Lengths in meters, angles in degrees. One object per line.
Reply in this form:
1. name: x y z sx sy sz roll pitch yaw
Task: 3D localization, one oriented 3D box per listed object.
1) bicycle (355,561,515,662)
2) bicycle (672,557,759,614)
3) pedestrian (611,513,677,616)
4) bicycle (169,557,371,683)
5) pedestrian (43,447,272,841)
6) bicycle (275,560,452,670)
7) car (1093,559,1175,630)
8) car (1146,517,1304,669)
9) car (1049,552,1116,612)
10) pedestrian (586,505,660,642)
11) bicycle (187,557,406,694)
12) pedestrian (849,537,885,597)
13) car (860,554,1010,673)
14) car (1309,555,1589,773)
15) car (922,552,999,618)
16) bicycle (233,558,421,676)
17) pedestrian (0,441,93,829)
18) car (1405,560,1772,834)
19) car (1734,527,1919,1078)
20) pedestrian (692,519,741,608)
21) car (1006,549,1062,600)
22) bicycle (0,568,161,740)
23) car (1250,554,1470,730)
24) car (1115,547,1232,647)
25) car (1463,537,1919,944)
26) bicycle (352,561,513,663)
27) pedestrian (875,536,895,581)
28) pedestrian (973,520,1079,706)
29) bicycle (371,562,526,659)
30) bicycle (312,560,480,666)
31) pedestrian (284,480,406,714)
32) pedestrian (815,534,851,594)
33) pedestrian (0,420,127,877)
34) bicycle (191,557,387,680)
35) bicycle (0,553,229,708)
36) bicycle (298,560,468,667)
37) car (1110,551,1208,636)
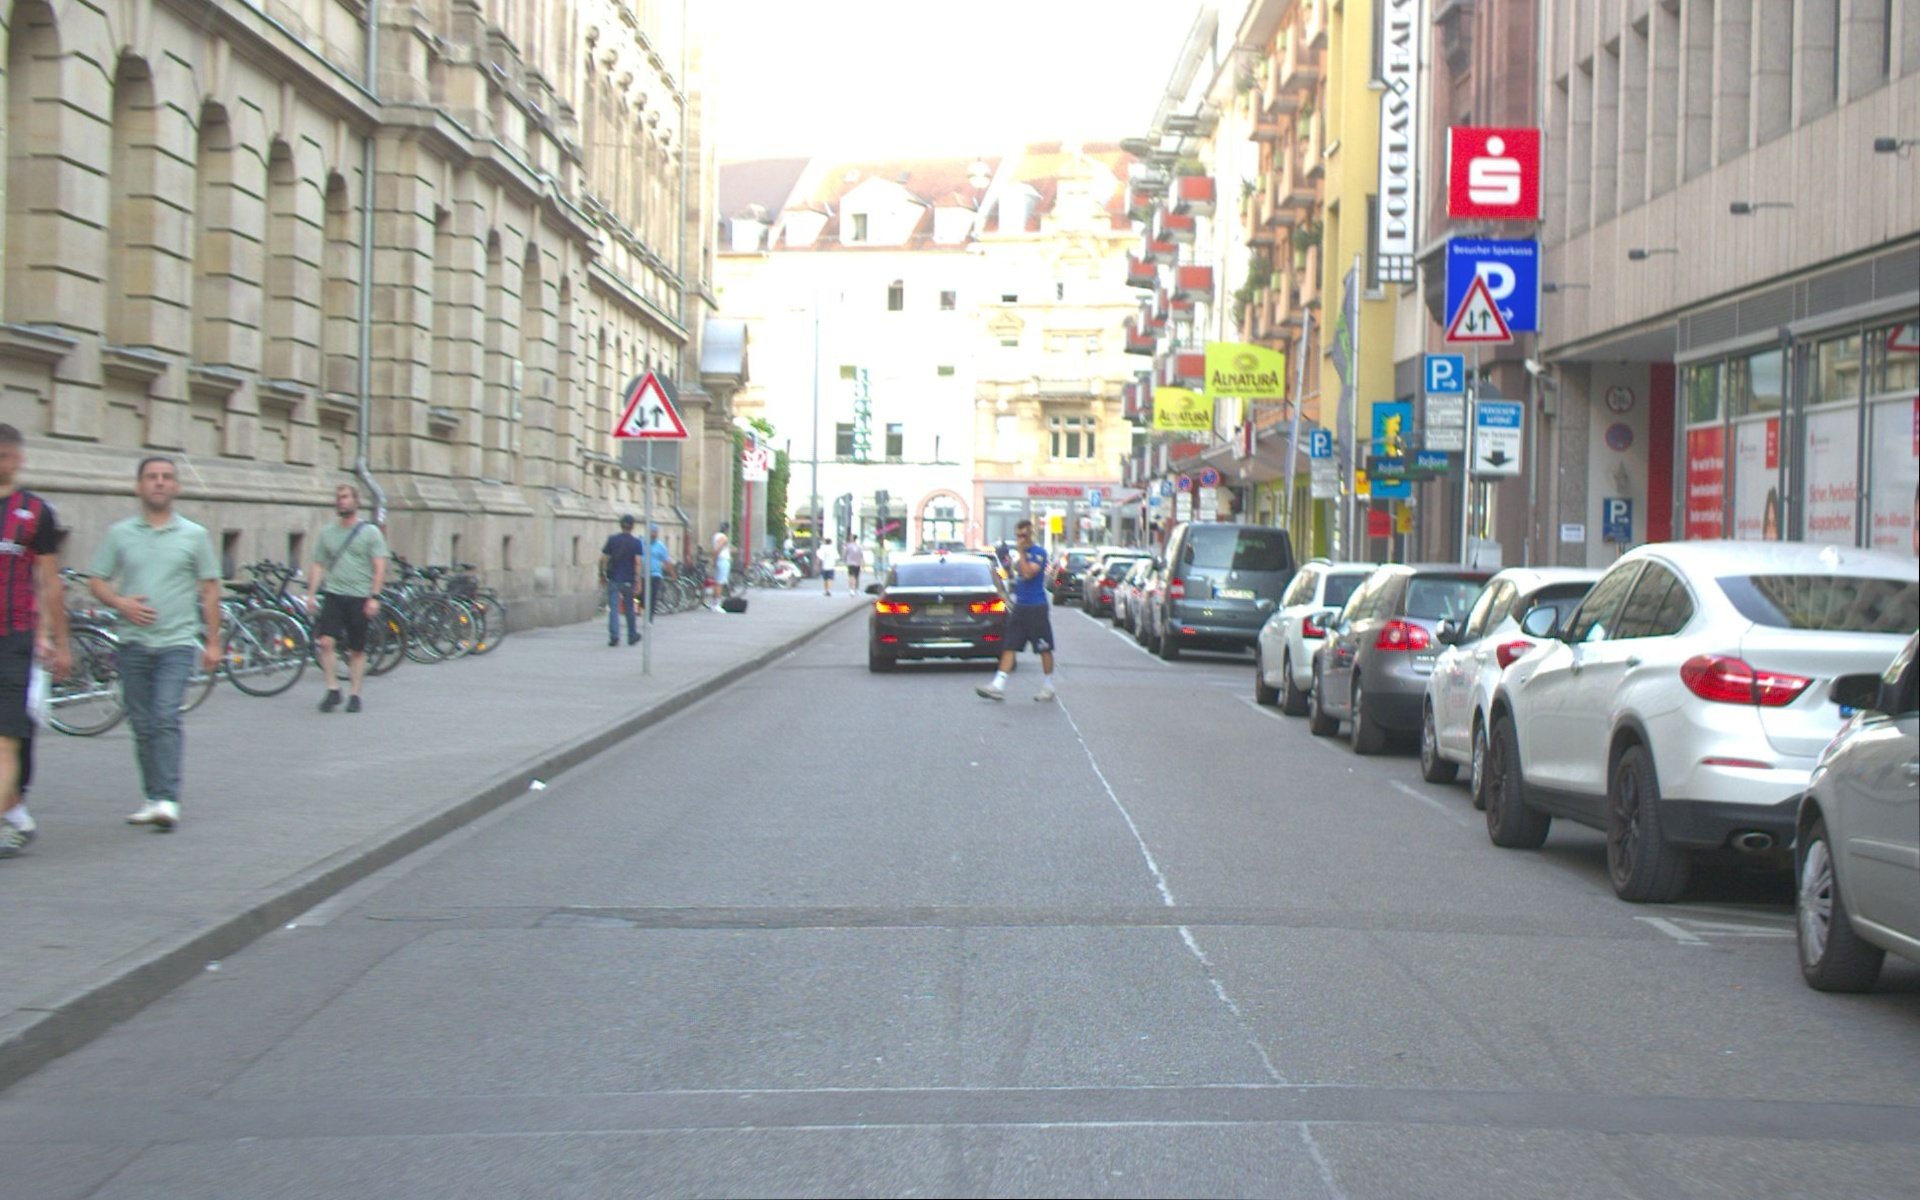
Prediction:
1. bicycle: -5.913 0.130 38.767 1.679 1.038 0.487 3 1 -1
2. bicycle: -5.043 -0.304 70.886 1.679 1.037 0.487 5 1 1
3. pedestrian: -5.224 -0.591 56.924 0.933 1.631 0.654 5 0 -2
4. bicycle: -6.227 0.176 31.072 1.679 1.038 0.487 3 1 -1
5. pedestrian: -3.736 0.197 16.058 0.786 1.746 0.722 5 0 -2
6. bicycle: -6.113 0.149 35.279 1.679 1.038 0.487 3 1 -1
7. car: 4.013 -0.147 79.829 1.644 1.518 3.284 3 1 0
8. car: 3.796 -0.124 49.805 1.870 2.011 3.766 3 1 0
9. car: 3.340 -0.520 94.257 1.644 1.518 3.284 3 1 0
10. pedestrian: -4.481 -0.360 45.770 0.804 1.746 0.810 5 1 -2
11. bicycle: -5.494 0.209 28.511 1.679 1.038 0.487 3 1 -1
12. pedestrian: -2.809 -0.996 103.784 0.933 1.746 0.810 5 1 -3
13. car: -0.321 0.138 42.782 1.769 1.404 4.052 0 1 -1
14. car: 3.789 0.452 27.097 1.644 1.518 3.284 3 1 0
15. car: -0.011 -0.393 84.296 1.794 1.505 4.000 2 1 -1
16. bicycle: -6.101 0.164 33.175 1.679 1.038 0.487 3 1 -1
17. pedestrian: -4.519 0.135 15.963 0.689 1.746 0.722 5 0 -2
18. car: 3.922 0.553 21.934 1.644 1.518 3.284 3 1 0
19. car: 3.756 0.642 10.436 1.769 1.630 4.052 3 1 -1
20. pedestrian: -4.965 -0.745 70.052 0.807 1.746 0.936 5 1 -1
21. car: 2.373 -0.832 110.519 1.644 1.518 3.284 3 1 0
22. bicycle: -6.071 0.325 22.142 1.680 1.038 0.487 3 1 6
23. car: 3.803 0.363 33.160 1.644 1.518 3.284 3 1 0
24. car: 3.531 -0.077 57.265 1.644 1.518 3.284 3 1 0
25. car: 3.711 0.565 16.271 1.769 1.630 4.091 3 1 -3
26. bicycle: -5.870 0.134 38.303 1.679 1.038 0.487 3 1 -1
27. pedestrian: -2.993 -1.665 137.225 0.665 1.746 0.681 5 0 -3
28. pedestrian: 0.639 0.119 33.431 0.820 1.785 0.727 1 1 -15
29. bicycle: -5.952 0.120 40.054 1.679 1.038 0.487 3 1 -1
30. bicycle: -6.062 0.139 36.971 1.679 1.038 0.487 3 1 -1
31. pedestrian: -4.790 -0.027 26.803 0.718 1.746 0.669 5 0 -2
32. pedestrian: -3.807 -1.080 103.250 0.933 1.746 0.810 5 1 -3
33. pedestrian: -3.957 0.172 14.192 0.697 1.806 0.975 5 1 -2
34. bicycle: -6.220 0.170 31.905 1.679 1.038 0.487 3 1 -1
35. bicycle: -6.212 0.218 24.975 1.679 1.038 0.487 3 1 -17
36. bicycle: -6.121 0.141 36.516 1.679 1.038 0.487 3 1 -1
37. car: 3.879 -0.150 67.419 1.644 1.518 3.284 3 1 0
